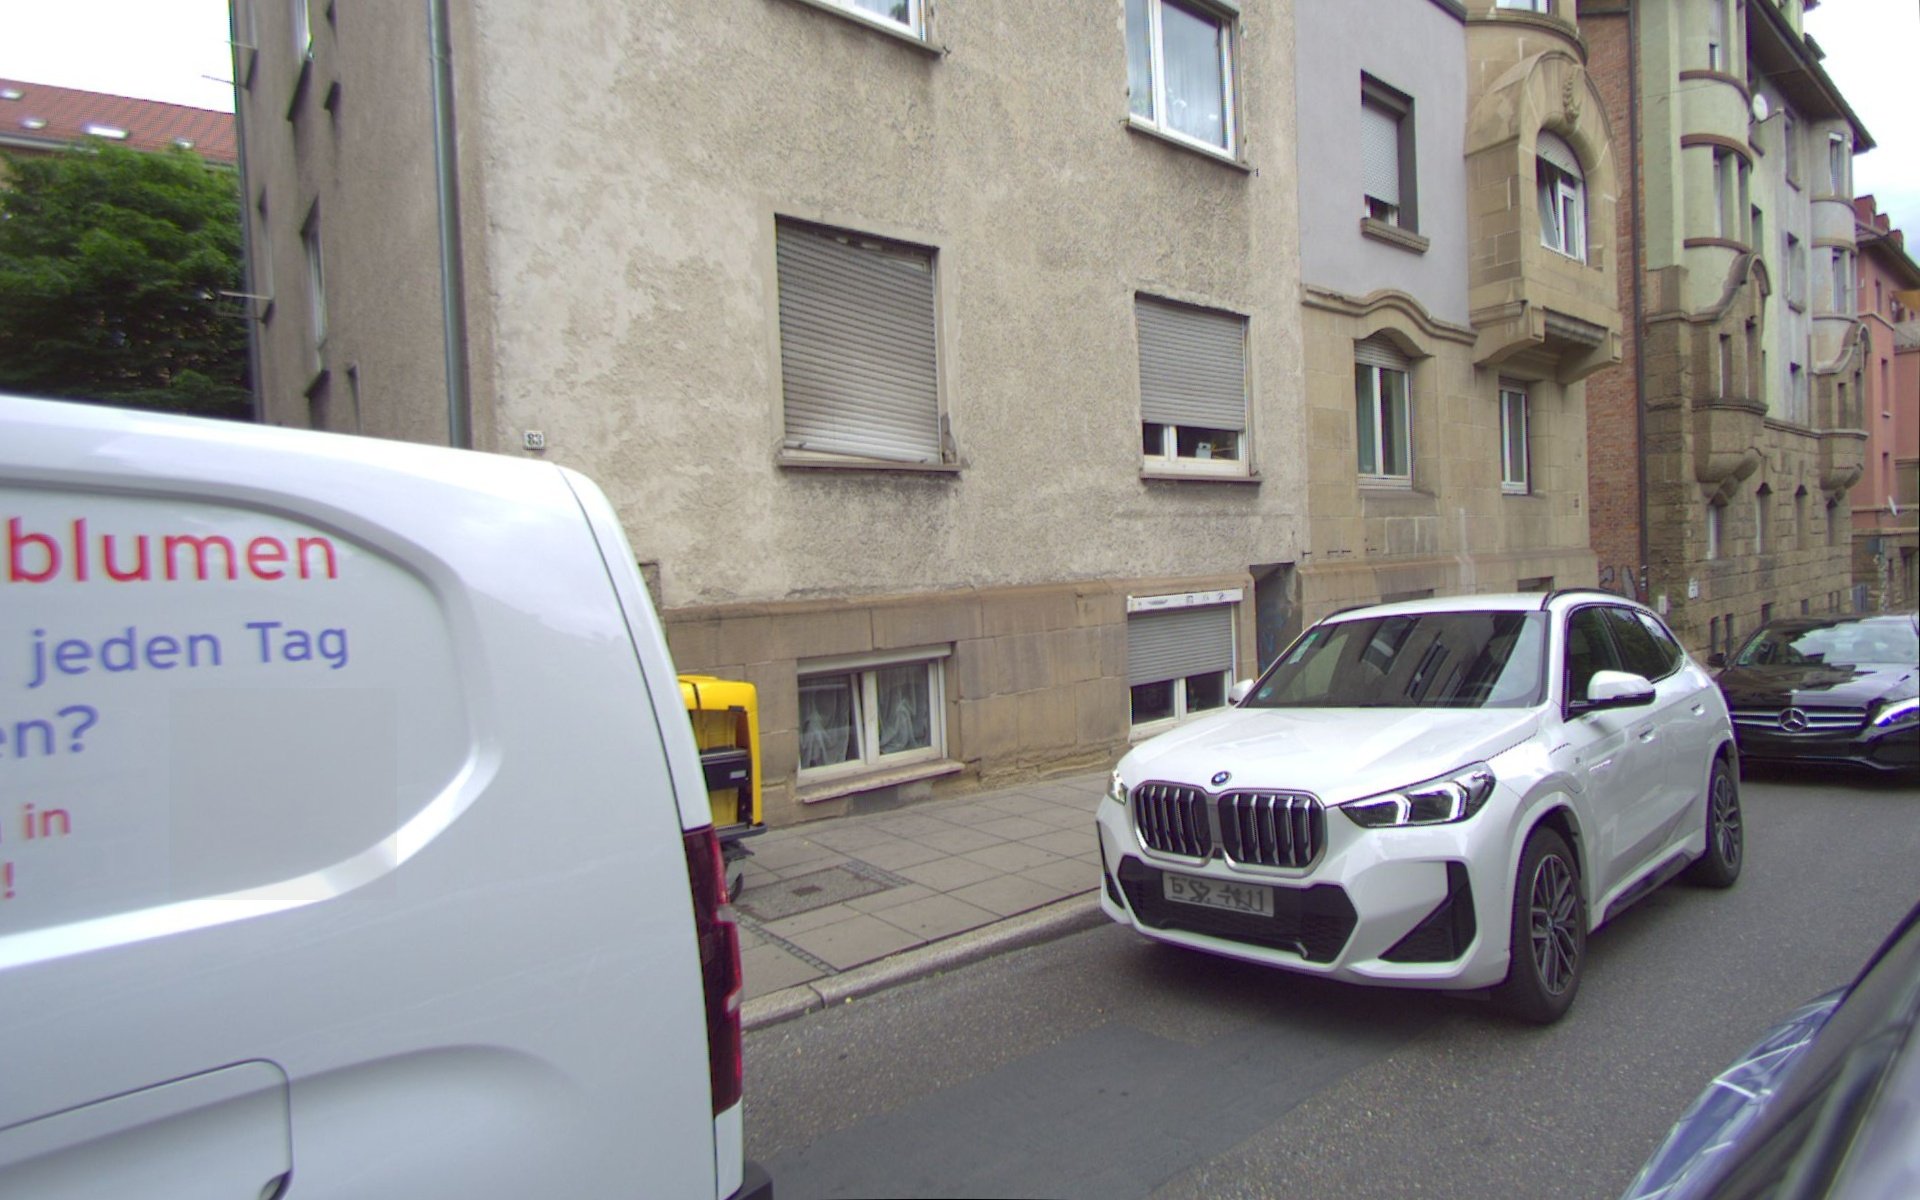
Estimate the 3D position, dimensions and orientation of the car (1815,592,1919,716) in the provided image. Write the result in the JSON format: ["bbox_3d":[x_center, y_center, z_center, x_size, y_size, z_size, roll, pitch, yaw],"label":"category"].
[{"bbox_3d":[13.567,0.649,13.936,4.226,1.534,1.935,-1,-3,-40],"label":"car"}]

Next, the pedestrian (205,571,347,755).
[{"bbox_3d":[-6.713,0.583,9.947,0.805,1.666,0.775,-1,5,34],"label":"pedestrian"}]

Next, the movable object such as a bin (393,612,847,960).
[{"bbox_3d":[-1.765,0.797,5.397,1.979,1.391,1.223,-1,2,-43],"label":"movable object such as a bin"}]

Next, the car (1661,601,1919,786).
[{"bbox_3d":[8.460,0.750,9.647,4.132,1.395,1.882,-1,-3,-41],"label":"car"}]

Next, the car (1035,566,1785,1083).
[{"bbox_3d":[2.580,0.724,5.239,4.276,1.576,1.857,-1,-4,-41],"label":"car"}]

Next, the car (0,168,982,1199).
[{"bbox_3d":[-2.333,0.560,0.890,4.597,1.798,1.977,-1,-3,-42],"label":"car"}]

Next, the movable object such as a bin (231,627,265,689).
[{"bbox_3d":[-10.972,0.891,15.592,0.405,0.923,0.340,0,0,-40],"label":"movable object such as a bin"}]
